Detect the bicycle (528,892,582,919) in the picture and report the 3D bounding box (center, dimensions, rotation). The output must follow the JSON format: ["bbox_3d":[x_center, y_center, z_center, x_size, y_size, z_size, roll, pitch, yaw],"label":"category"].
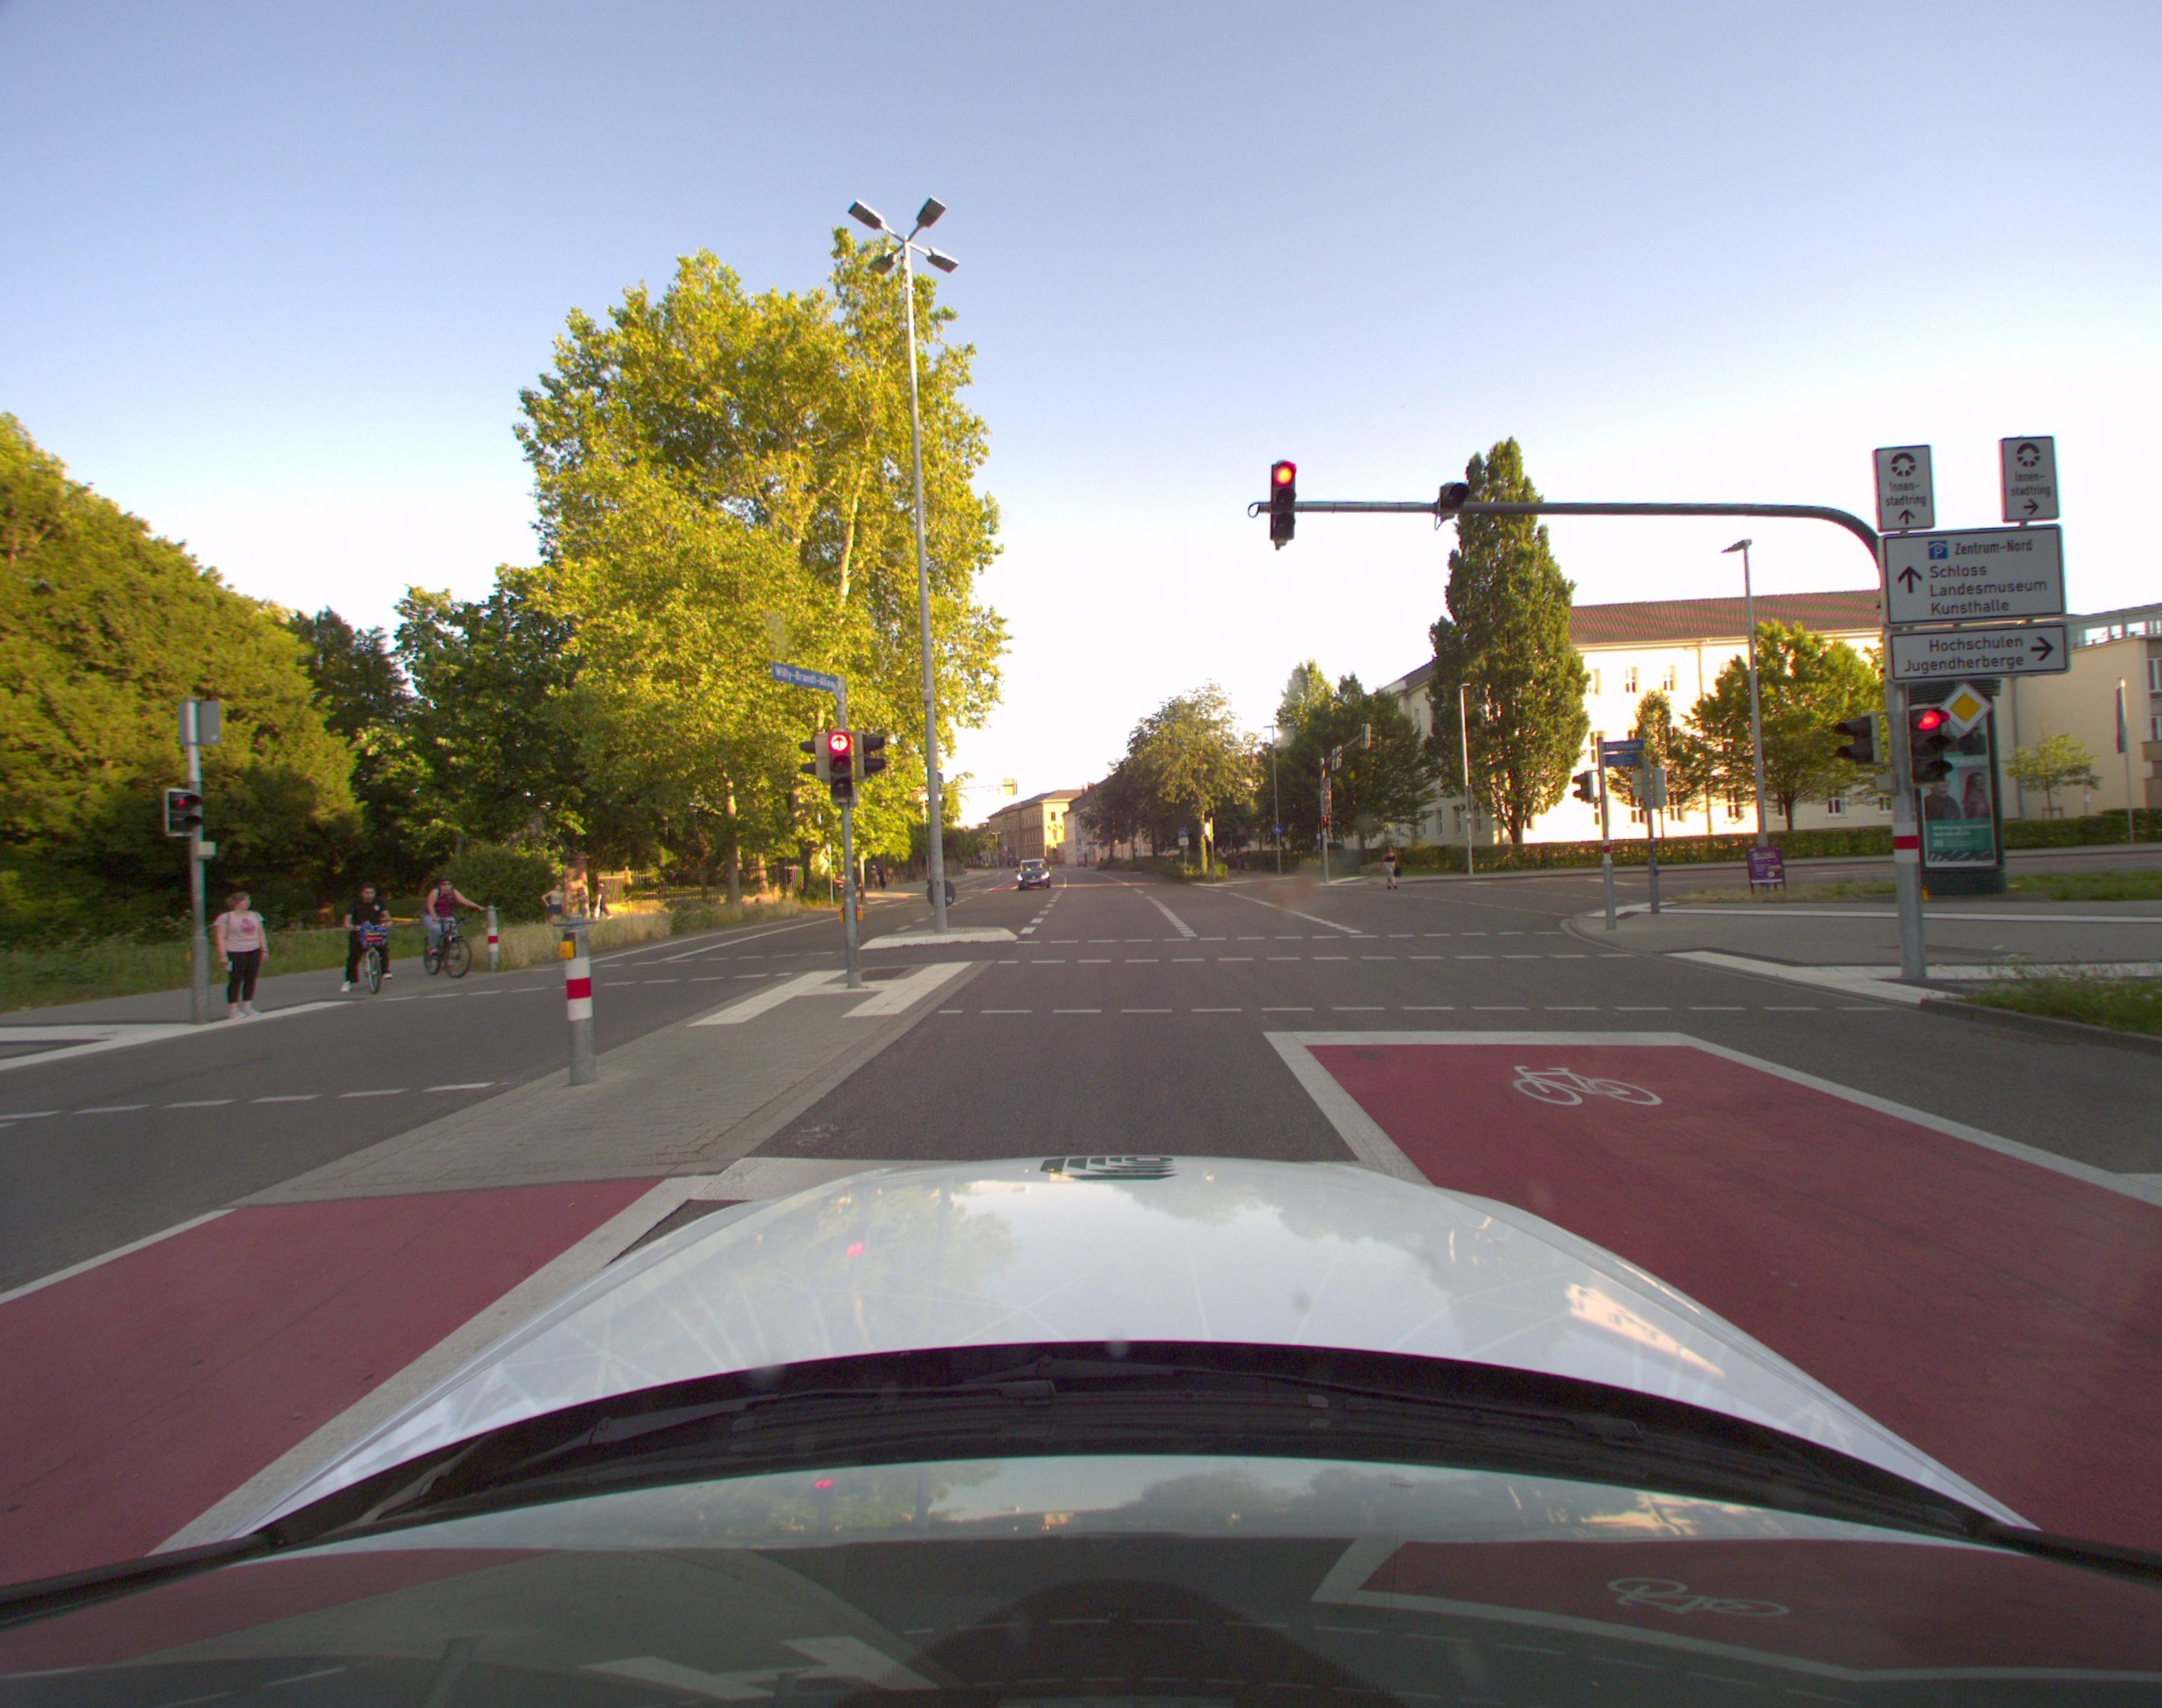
[{"bbox_3d":[-21.851,2.139,33.825,2.269,1.033,0.746,-2,0,23],"label":"bicycle"}]

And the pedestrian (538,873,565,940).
[{"bbox_3d":[-16.583,1.625,25.498,0.654,2.014,0.599,-1,-1,-37],"label":"pedestrian"}]

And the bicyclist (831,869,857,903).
[{"bbox_3d":[-11.860,1.570,40.752,0.954,1.631,0.753,-3,0,2],"label":"bicyclist"}]

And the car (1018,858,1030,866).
[{"bbox_3d":[-11.869,1.689,170.260,1.821,1.588,3.983,-4,0,-12],"label":"car"}]

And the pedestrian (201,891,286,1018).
[{"bbox_3d":[-11.765,1.394,11.451,0.604,1.695,0.499,-3,0,3],"label":"pedestrian"}]

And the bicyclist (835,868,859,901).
[{"bbox_3d":[-12.208,1.591,42.453,0.954,1.631,0.753,-3,0,2],"label":"bicyclist"}]

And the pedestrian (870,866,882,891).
[{"bbox_3d":[-13.569,1.627,53.958,0.533,1.596,0.591,-3,0,1],"label":"pedestrian"}]

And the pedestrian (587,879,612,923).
[{"bbox_3d":[-22.684,2.216,38.406,0.636,2.013,0.703,-3,0,9],"label":"pedestrian"}]

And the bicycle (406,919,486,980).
[{"bbox_3d":[-11.873,1.758,15.212,1.749,1.030,0.583,-3,0,32],"label":"bicycle"}]

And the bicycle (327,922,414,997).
[{"bbox_3d":[-11.819,1.722,13.535,1.548,1.111,0.637,-3,0,32],"label":"bicycle"}]

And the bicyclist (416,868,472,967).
[{"bbox_3d":[-11.922,1.173,15.248,0.631,1.780,0.580,-3,-1,32],"label":"bicyclist"}]

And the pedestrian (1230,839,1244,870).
[{"bbox_3d":[10.053,0.041,52.513,0.633,2.014,0.720,-2,-1,-2],"label":"pedestrian"}]

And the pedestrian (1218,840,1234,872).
[{"bbox_3d":[9.329,0.152,52.393,0.867,2.014,0.723,-2,-1,1],"label":"pedestrian"}]

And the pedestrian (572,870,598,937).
[{"bbox_3d":[-15.485,1.531,25.430,0.598,2.014,0.634,-1,-1,-38],"label":"pedestrian"}]

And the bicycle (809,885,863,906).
[{"bbox_3d":[-12.247,2.078,40.793,2.420,0.924,0.775,-3,0,2],"label":"bicycle"}]

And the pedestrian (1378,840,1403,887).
[{"bbox_3d":[11.068,0.343,29.131,0.597,1.636,0.691,-2,0,1],"label":"pedestrian"}]

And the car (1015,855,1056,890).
[{"bbox_3d":[-2.476,1.016,45.448,1.843,1.720,4.296,-5,0,0],"label":"car"}]

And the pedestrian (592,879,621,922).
[{"bbox_3d":[-23.250,2.253,39.918,0.759,2.014,1.075,-2,0,-5],"label":"pedestrian"}]

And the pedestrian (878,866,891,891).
[{"bbox_3d":[-12.969,1.613,53.668,0.597,1.573,0.646,-3,0,1],"label":"pedestrian"}]

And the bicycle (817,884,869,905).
[{"bbox_3d":[-12.405,2.091,42.438,2.420,0.924,0.775,-3,0,2],"label":"bicycle"}]

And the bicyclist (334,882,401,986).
[{"bbox_3d":[-11.891,1.316,13.579,0.631,1.649,0.634,-3,-1,32],"label":"bicyclist"}]
